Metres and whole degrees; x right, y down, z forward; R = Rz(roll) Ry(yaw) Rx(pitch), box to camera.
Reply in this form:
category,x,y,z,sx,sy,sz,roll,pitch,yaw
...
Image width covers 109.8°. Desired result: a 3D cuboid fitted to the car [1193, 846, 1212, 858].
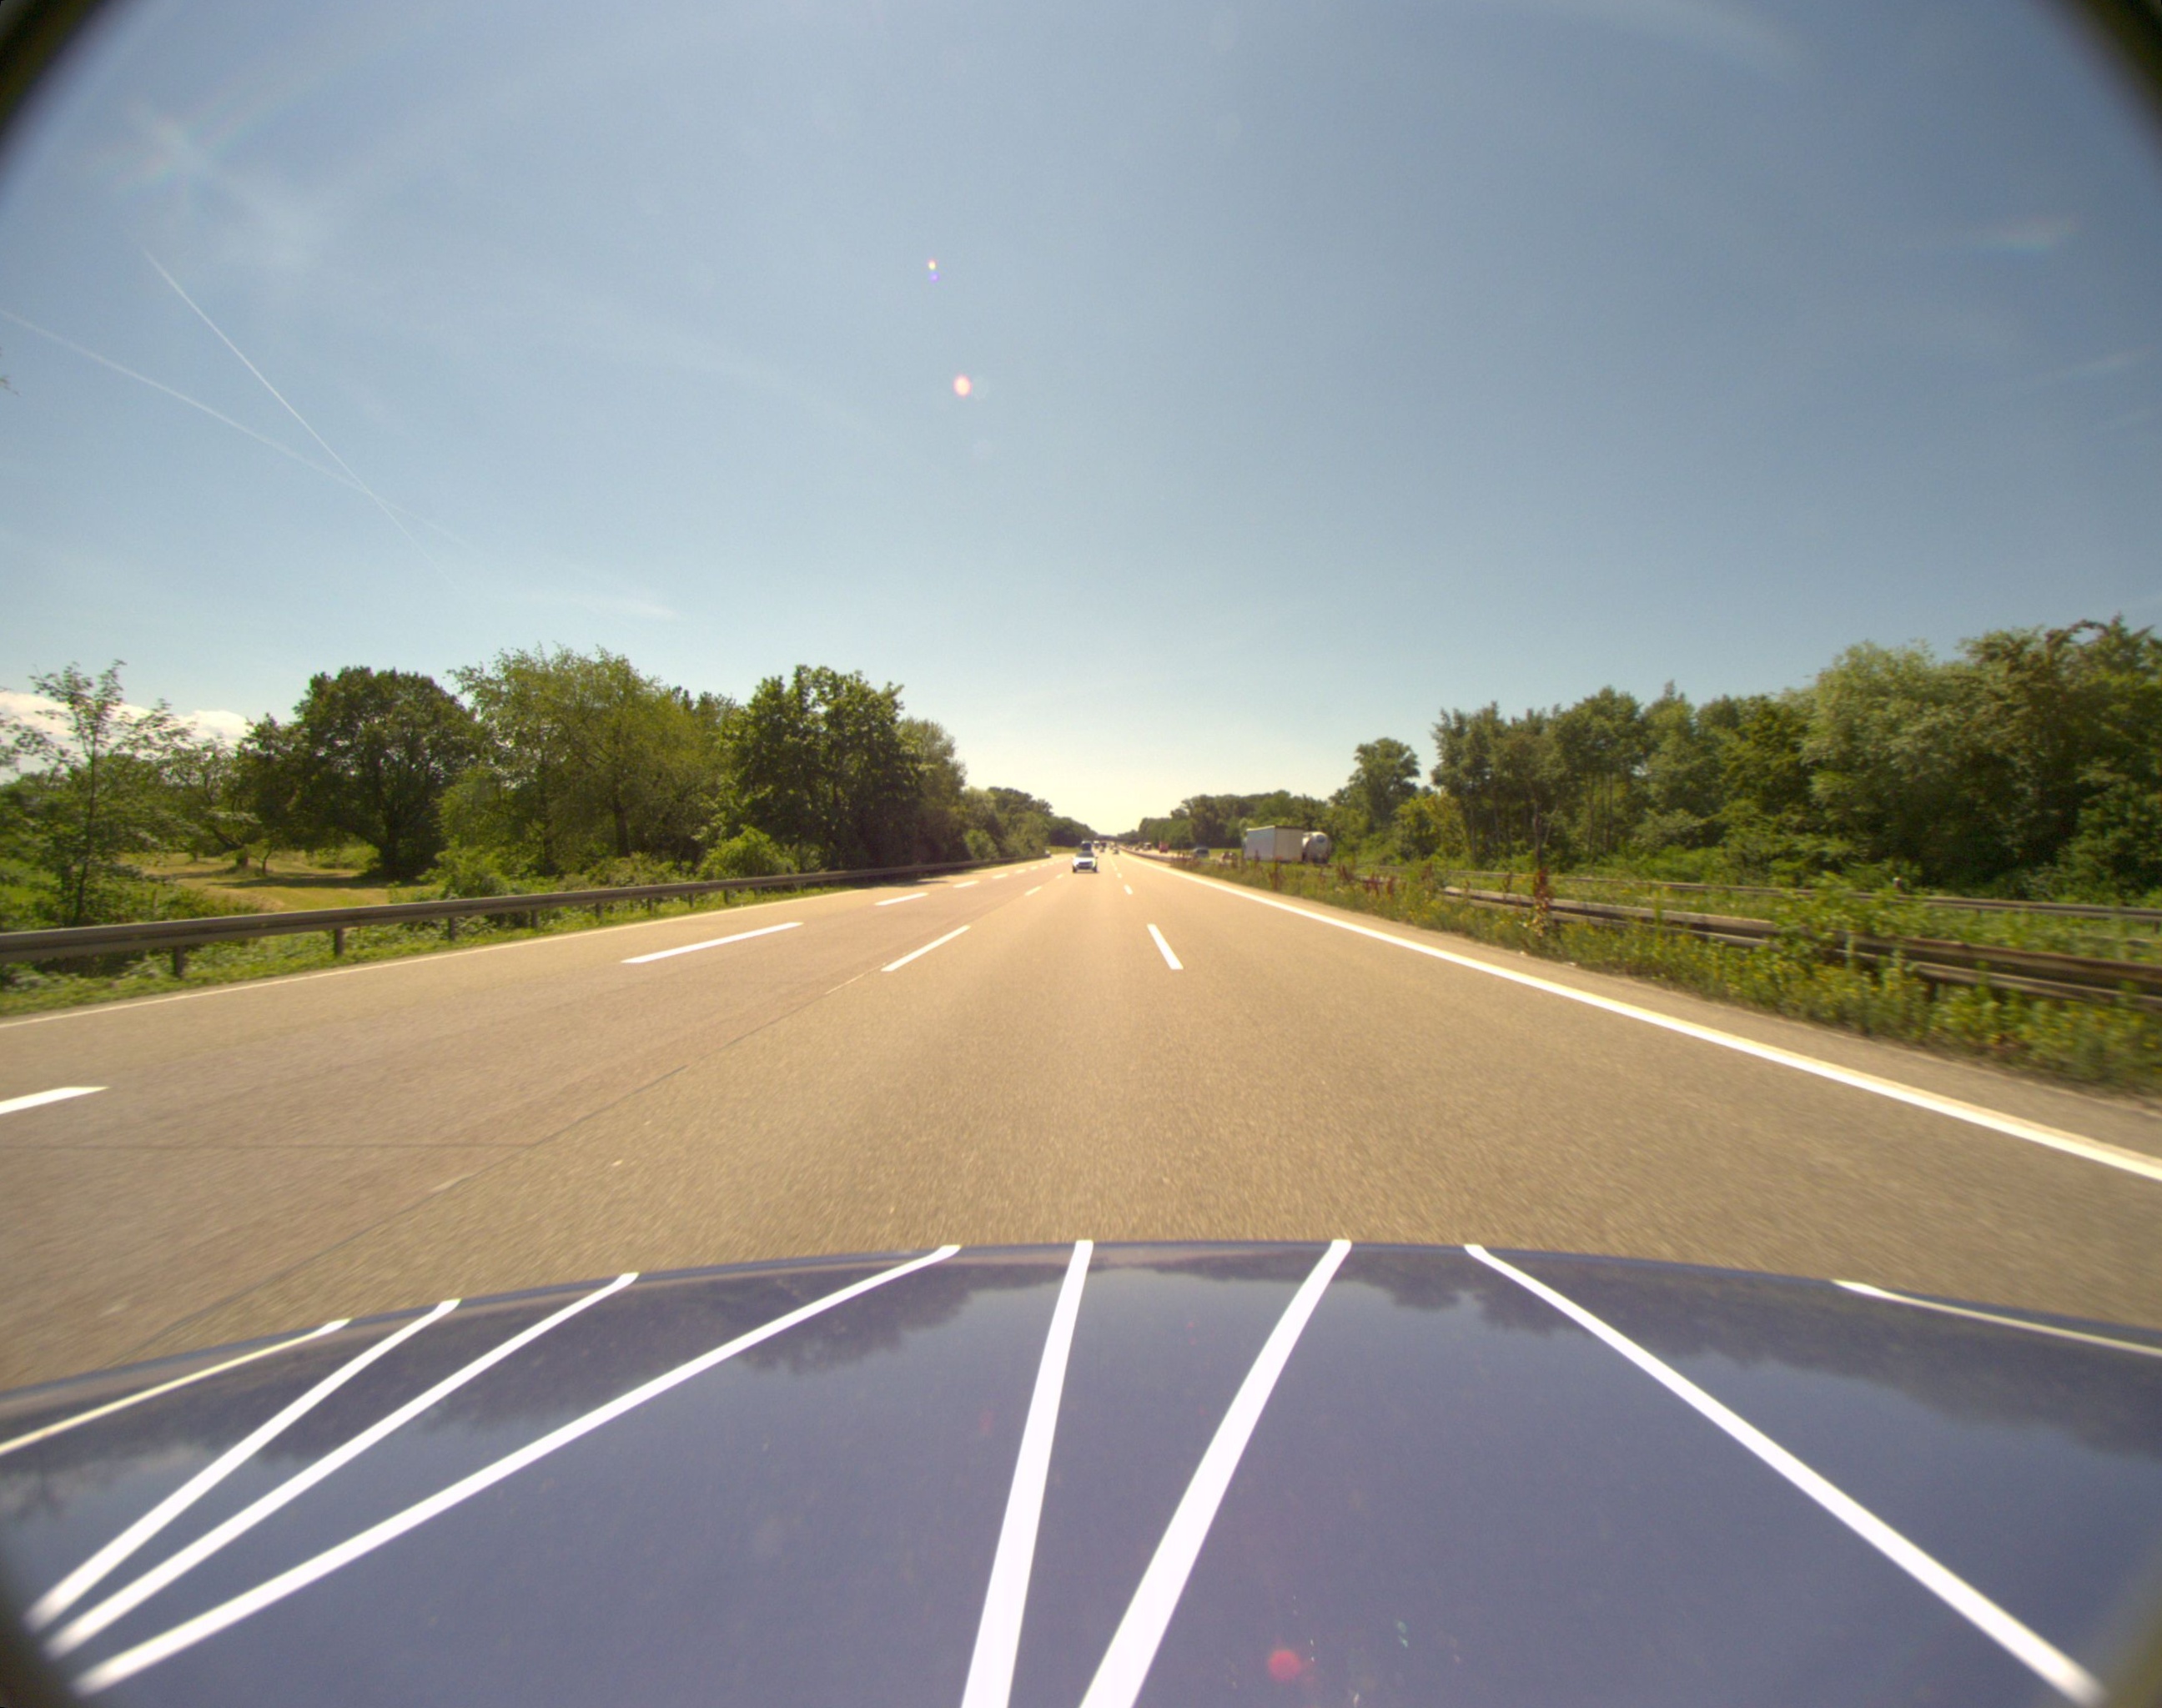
category,x,y,z,sx,sy,sz,roll,pitch,yaw
car,16.105,-0.291,100.770,1.998,1.580,4.818,1,1,2

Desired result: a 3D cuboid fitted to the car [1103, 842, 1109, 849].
category,x,y,z,sx,sy,sz,roll,pitch,yaw
car,8.146,-2.690,243.986,1.840,2.002,4.000,0,1,3

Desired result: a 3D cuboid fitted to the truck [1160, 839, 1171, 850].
category,x,y,z,sx,sy,sz,roll,pitch,yaw
truck,29.356,-3.218,264.238,3.071,3.706,9.805,0,1,2

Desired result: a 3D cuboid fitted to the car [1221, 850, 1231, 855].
category,x,y,z,sx,sy,sz,roll,pitch,yaw
car,40.157,-0.479,210.695,1.998,1.404,4.973,1,1,3

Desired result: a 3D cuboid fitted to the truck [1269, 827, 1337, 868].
category,x,y,z,sx,sy,sz,roll,pitch,yaw
truck,23.420,-0.702,81.399,2.962,3.995,15.820,1,1,2

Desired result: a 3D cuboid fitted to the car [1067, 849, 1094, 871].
category,x,y,z,sx,sy,sz,roll,pitch,yaw
car,0.015,0.410,55.988,1.845,1.565,4.000,-1,1,2

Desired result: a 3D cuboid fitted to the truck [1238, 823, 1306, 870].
category,x,y,z,sx,sy,sz,roll,pitch,yaw
truck,18.926,-0.769,76.809,2.962,4.221,17.181,1,1,2

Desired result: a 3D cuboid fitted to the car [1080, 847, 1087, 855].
category,x,y,z,sx,sy,sz,roll,pitch,yaw
car,0.665,-0.744,205.524,1.998,2.002,4.000,1,0,0
